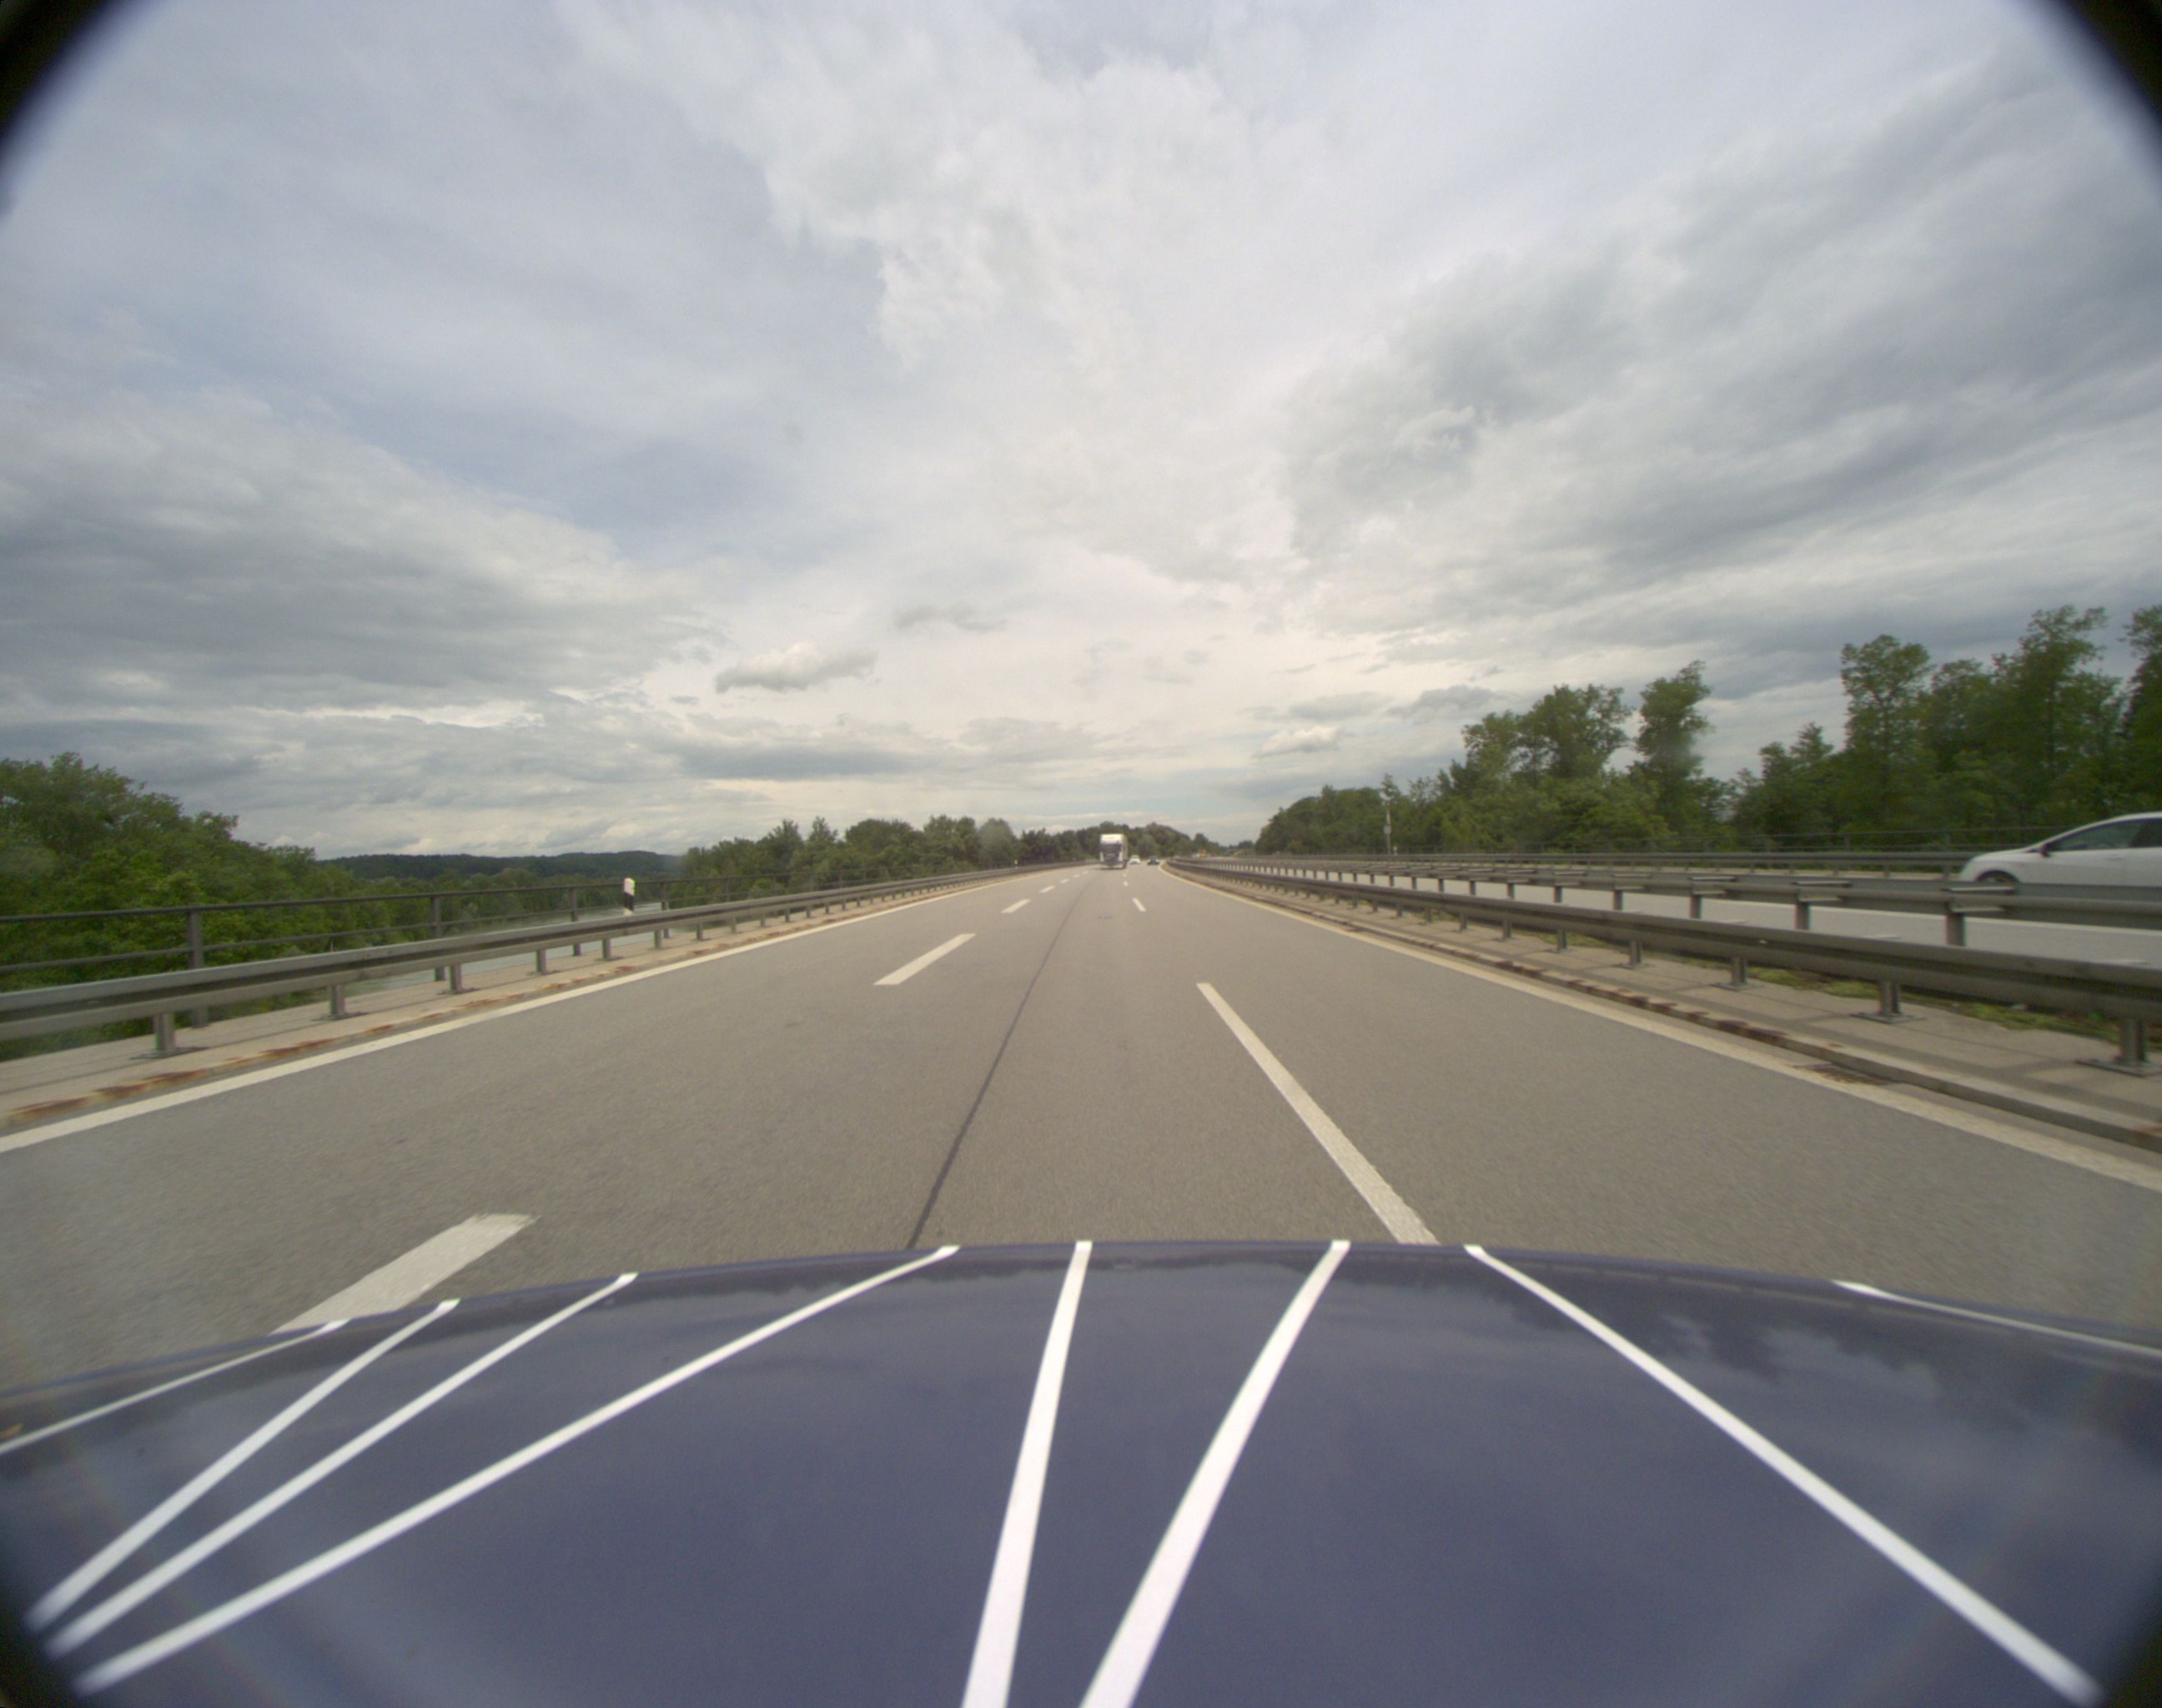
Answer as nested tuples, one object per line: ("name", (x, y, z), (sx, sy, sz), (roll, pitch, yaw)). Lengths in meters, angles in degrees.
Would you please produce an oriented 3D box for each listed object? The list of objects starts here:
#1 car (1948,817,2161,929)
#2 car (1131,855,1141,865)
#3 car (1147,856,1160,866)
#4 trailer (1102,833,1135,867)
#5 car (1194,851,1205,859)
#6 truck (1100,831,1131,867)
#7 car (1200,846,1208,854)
("car", (14.469, 0.217, 9.849), (1.535, 1.398, 4.328), (-2, 0, 1))
("car", (9.812, 1.046, 135.489), (1.774, 1.813, 4.166), (-2, 0, 4))
("car", (11.498, 1.090, 120.008), (1.774, 1.474, 4.700), (-1, -1, 7))
("trailer", (4.815, -0.461, 94.683), (3.068, 3.867, 13.798), (-2, 0, 6))
("car", (24.625, 0.198, 157.865), (1.776, 1.379, 4.389), (-2, 0, 4))
("truck", (3.968, -0.505, 86.901), (3.068, 3.869, 6.003), (-2, 0, 6))
("car", (36.684, -1.302, 226.552), (1.997, 2.279, 6.401), (-2, 0, 8))
